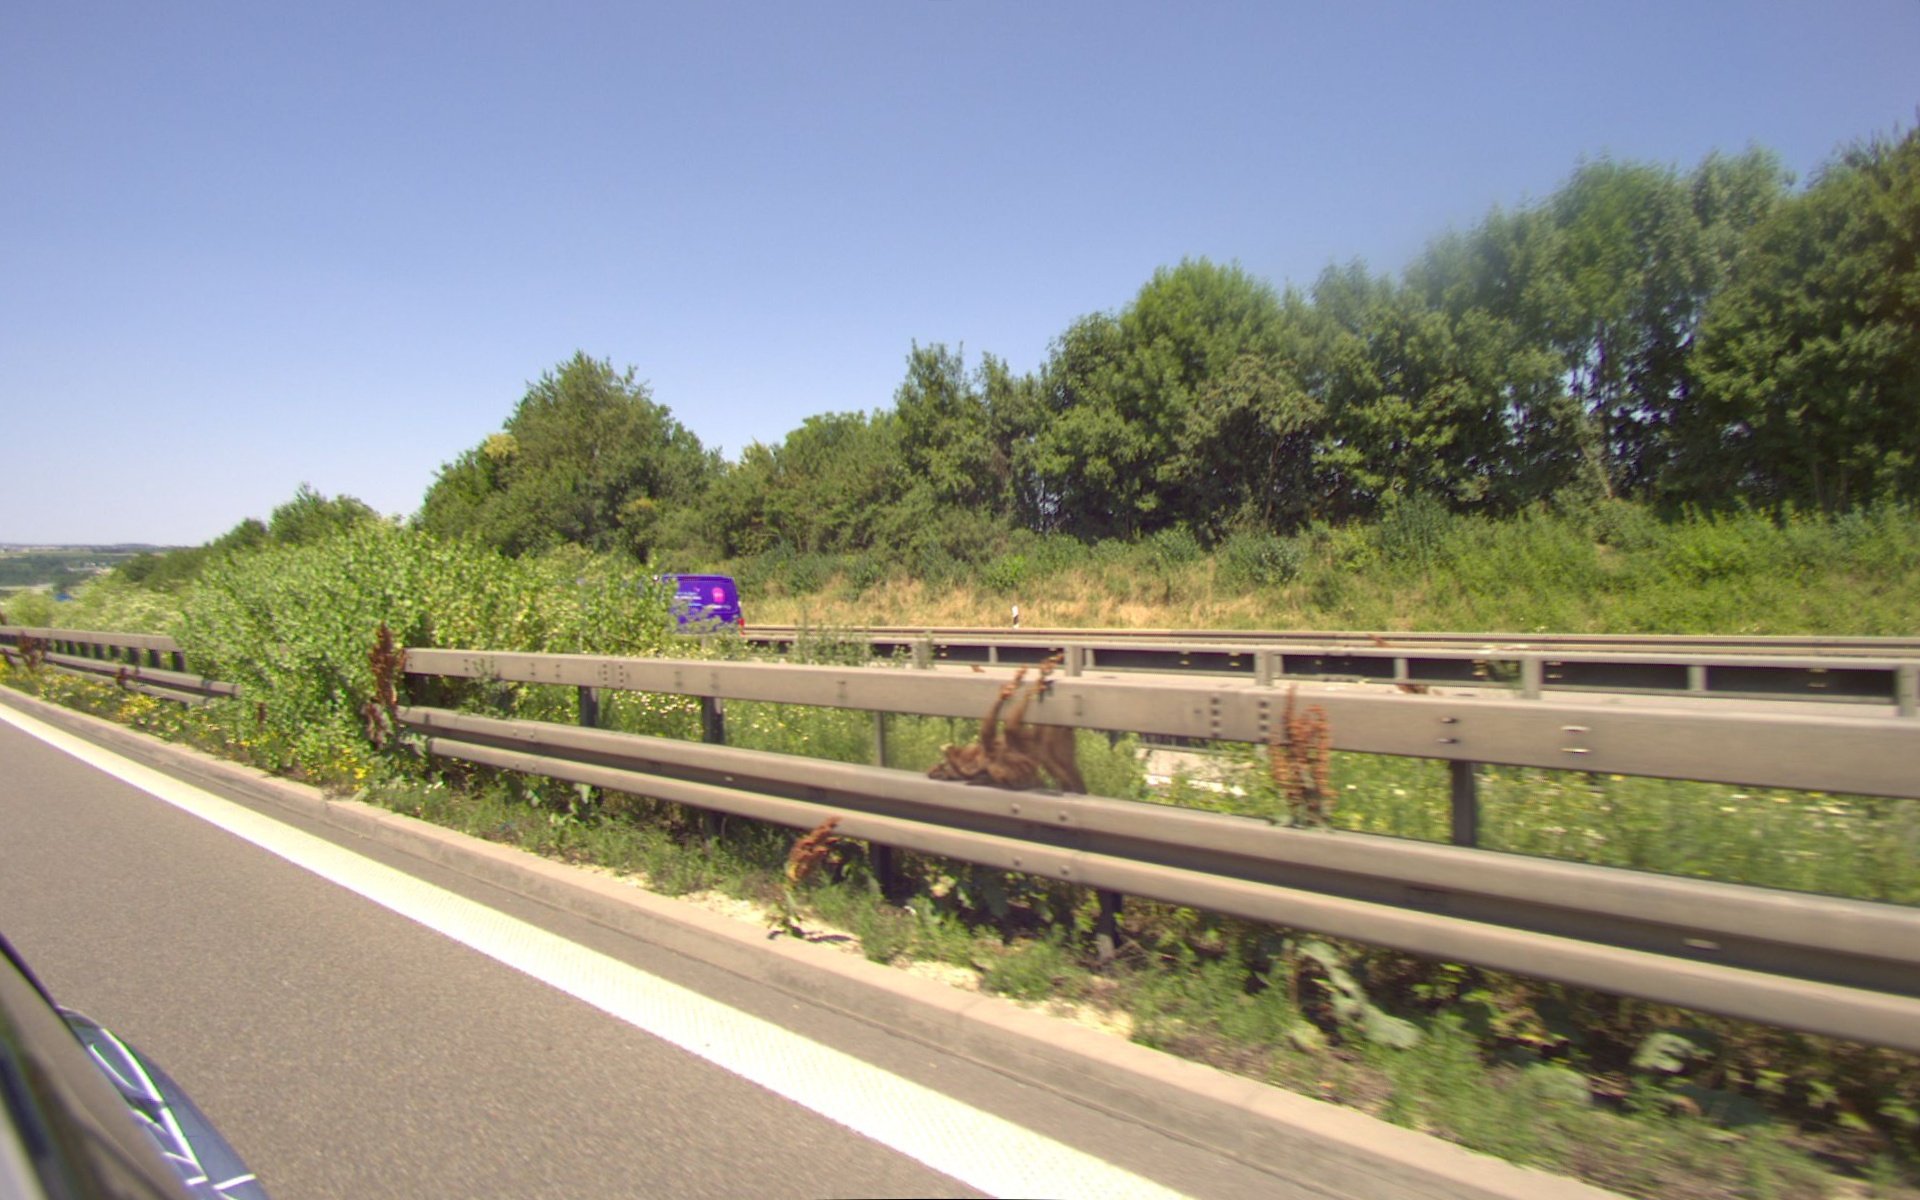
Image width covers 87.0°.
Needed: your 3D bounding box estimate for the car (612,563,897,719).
[{"bbox_3d":[-3.014,0.504,14.424,3.999,1.906,1.972,-1,0,42],"label":"car"}]
